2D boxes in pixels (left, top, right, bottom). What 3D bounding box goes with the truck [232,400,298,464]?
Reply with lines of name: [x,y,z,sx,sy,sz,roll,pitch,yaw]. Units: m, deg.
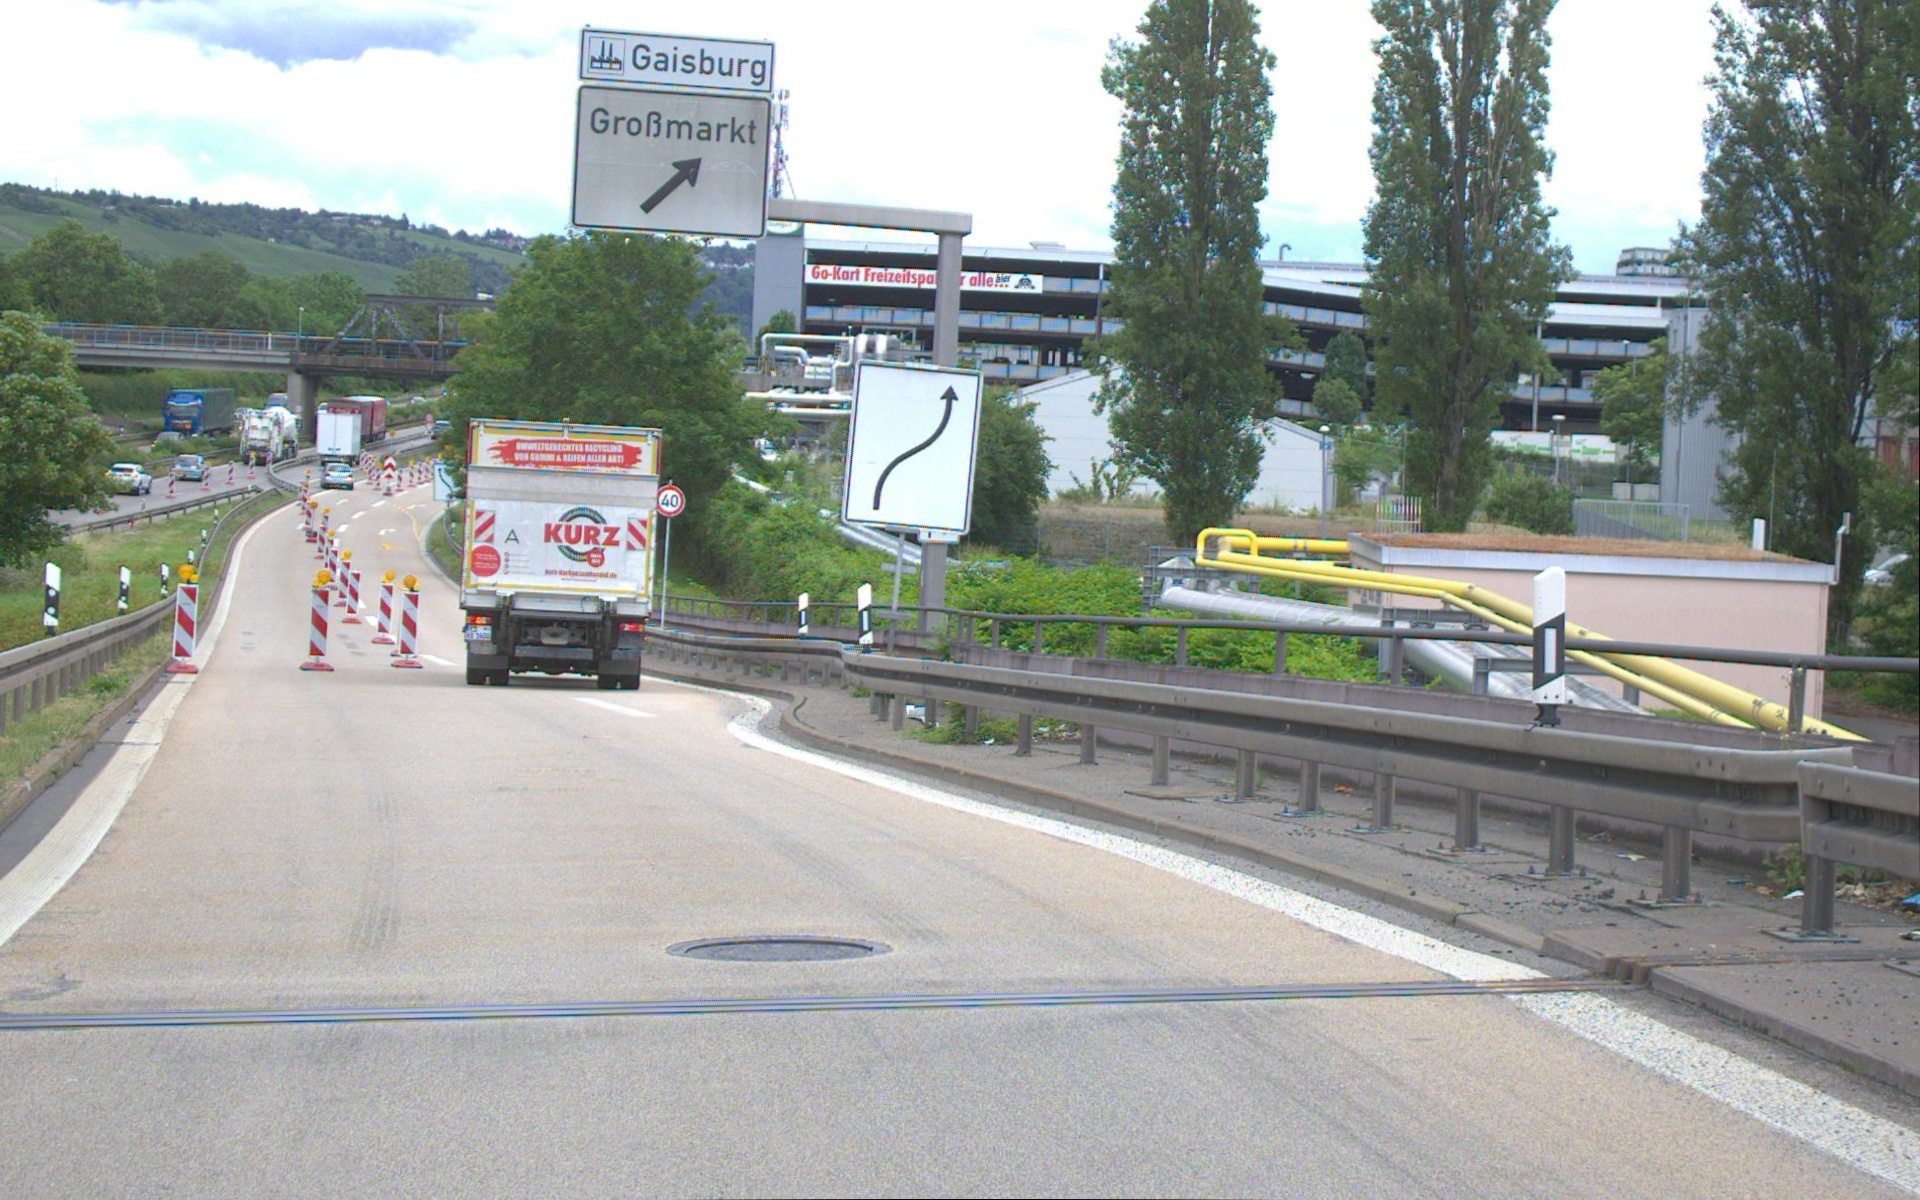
truck: [-44.409,-10.786,219.865,3.286,3.839,7.667,3,3,-7]

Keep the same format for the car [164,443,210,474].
car: [-43.453,-7.968,193.312,1.993,1.612,4.002,3,3,-7]

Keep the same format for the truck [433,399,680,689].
truck: [-5.793,-0.770,49.108,3.050,3.660,7.929,3,0,-7]

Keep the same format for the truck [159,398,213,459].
truck: [-56.605,-12.558,251.421,2.752,4.257,5.504,3,3,-3]

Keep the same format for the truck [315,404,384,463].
truck: [-40.060,-10.947,225.745,3.286,3.587,7.666,3,3,-2]

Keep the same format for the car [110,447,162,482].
car: [-41.756,-6.890,174.287,1.993,1.612,4.002,3,3,-7]
